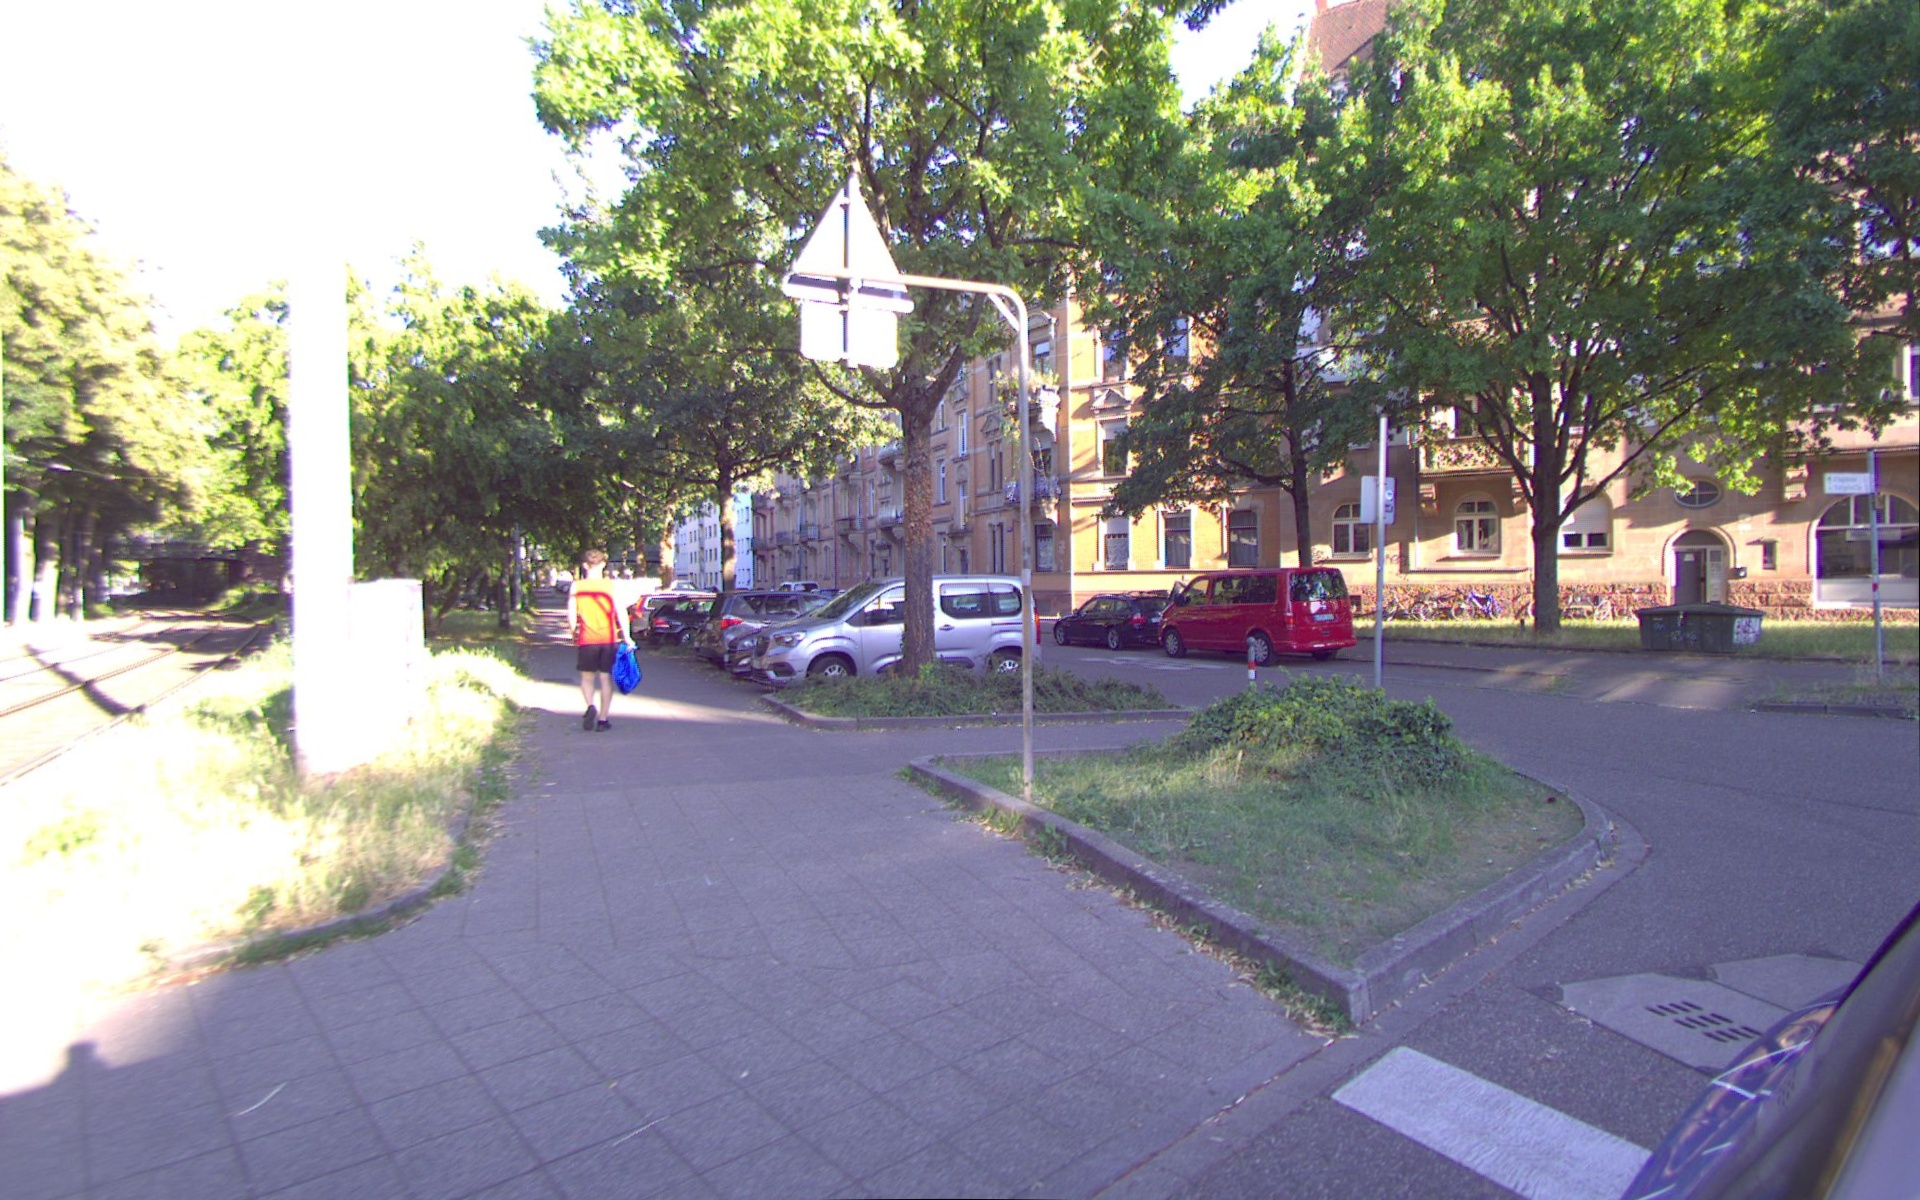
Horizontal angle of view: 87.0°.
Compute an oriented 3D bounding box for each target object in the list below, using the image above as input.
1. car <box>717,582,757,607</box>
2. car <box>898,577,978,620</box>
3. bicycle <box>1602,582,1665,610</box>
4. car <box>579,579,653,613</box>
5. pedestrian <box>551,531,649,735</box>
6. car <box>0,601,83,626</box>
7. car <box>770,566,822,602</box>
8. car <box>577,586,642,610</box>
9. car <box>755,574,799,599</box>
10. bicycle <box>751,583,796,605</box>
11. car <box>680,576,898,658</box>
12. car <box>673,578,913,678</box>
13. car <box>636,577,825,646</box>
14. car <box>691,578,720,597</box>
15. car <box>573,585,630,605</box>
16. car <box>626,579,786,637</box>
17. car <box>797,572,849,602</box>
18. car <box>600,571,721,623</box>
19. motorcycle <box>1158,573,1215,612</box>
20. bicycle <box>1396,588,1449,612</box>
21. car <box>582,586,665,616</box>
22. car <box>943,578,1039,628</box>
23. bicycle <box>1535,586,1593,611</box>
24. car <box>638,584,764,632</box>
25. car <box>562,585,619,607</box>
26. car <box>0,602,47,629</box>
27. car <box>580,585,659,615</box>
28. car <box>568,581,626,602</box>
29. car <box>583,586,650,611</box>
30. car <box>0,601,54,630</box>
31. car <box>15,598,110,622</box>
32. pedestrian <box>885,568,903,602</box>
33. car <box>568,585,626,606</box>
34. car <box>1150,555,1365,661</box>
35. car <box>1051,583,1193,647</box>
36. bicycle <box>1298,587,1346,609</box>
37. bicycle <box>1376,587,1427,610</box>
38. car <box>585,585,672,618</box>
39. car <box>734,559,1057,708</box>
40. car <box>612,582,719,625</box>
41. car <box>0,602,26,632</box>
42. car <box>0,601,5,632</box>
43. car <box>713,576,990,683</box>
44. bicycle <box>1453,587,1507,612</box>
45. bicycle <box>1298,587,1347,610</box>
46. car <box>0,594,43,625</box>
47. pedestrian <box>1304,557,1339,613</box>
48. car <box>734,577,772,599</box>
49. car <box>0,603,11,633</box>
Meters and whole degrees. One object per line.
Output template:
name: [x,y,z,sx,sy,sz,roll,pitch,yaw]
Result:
car: [-15.577,-0.413,70.546,1.843,1.555,4.401,-4,2,-23]
car: [-0.914,-0.068,39.782,1.655,1.493,3.888,-4,1,-24]
bicycle: [19.776,-0.112,29.740,1.498,0.741,0.365,-2,0,32]
car: [-19.915,-0.247,58.542,3.917,1.855,1.687,-1,1,-22]
pedestrian: [-3.688,0.300,10.324,0.886,1.942,1.152,0,0,-22]
car: [-51.356,0.730,56.073,3.922,1.295,1.749,-1,1,-2]
car: [-9.759,-0.944,60.010,1.874,1.906,4.734,-4,2,-23]
car: [-22.950,-0.174,66.279,3.917,1.507,1.687,-1,1,-22]
car: [-11.852,-0.898,65.372,1.843,1.459,4.401,-4,2,-23]
bicycle: [-13.134,-0.443,71.286,2.982,1.503,0.819,-1,1,-22]
car: [-3.808,0.305,22.431,4.458,1.591,1.954,-2,2,-20]
car: [-3.322,0.473,20.009,4.357,1.712,1.954,-2,2,-20]
car: [-6.082,0.247,26.754,4.617,1.591,2.005,-2,2,-20]
car: [-23.128,-1.111,91.860,1.843,1.588,4.401,-4,2,-23]
car: [-28.251,-0.403,79.752,4.177,1.507,1.687,-1,1,-22]
car: [-7.934,0.197,31.586,4.617,1.591,2.005,-2,2,-20]
car: [-7.470,-0.692,54.850,1.733,1.456,3.896,-4,2,-23]
car: [-12.782,-0.158,43.152,4.759,2.063,2.159,-1,1,-22]
motorcycle: [8.290,-0.275,37.051,1.884,1.370,0.801,-1,0,32]
bicycle: [14.787,0.003,32.358,1.498,0.741,0.365,0,1,32]
car: [-17.318,0.028,52.060,3.917,1.507,1.687,-1,1,-22]
car: [1.003,0.064,34.994,1.745,1.493,4.279,-4,2,-20]
bicycle: [18.356,-0.050,30.784,1.498,0.741,0.365,0,1,32]
car: [-8.704,0.238,34.021,3.917,1.479,1.687,-1,1,-22]
car: [-27.369,-0.301,74.937,3.917,1.507,1.687,-1,1,-22]
car: [-48.551,0.786,50.743,3.922,1.295,1.749,-1,1,-2]
car: [-18.255,-0.009,54.229,3.917,1.507,1.687,-1,1,-22]
car: [-33.511,-0.841,93.438,4.993,1.865,1.836,-1,1,-22]
car: [-21.628,-0.129,63.757,3.917,1.507,1.687,-1,1,-22]
car: [-45.983,0.740,48.266,3.922,1.295,1.749,-1,1,-2]
car: [-51.626,0.555,58.259,3.922,1.295,1.749,-1,1,-2]
pedestrian: [-3.492,-0.787,53.688,0.661,1.739,0.723,-4,2,-22]
car: [-27.776,-0.344,77.468,4.047,1.541,1.687,-1,1,-22]
car: [6.251,0.114,21.915,1.745,1.957,4.781,-4,2,-23]
car: [4.222,0.336,27.085,1.745,1.451,4.279,-4,2,-22]
bicycle: [12.358,-0.074,34.549,1.498,0.741,0.365,0,1,32]
bicycle: [14.416,-0.053,33.047,1.498,0.741,0.365,0,1,32]
car: [-16.140,0.063,49.250,3.917,1.507,1.687,-1,1,-22]
car: [-0.987,0.390,15.214,4.458,1.938,1.954,-2,2,-20]
car: [-11.843,0.108,40.707,3.917,1.600,1.769,-1,1,-25]
car: [-45.022,0.787,45.766,3.922,1.295,1.749,-1,1,-2]
car: [-41.850,0.724,41.360,3.922,1.295,1.749,-1,1,-2]
car: [-1.920,0.427,17.741,4.458,1.591,1.954,-2,2,-20]
bicycle: [16.339,-0.011,31.819,1.498,0.741,0.365,0,1,32]
bicycle: [12.231,-0.057,34.150,1.498,0.741,0.410,0,1,32]
car: [-57.361,0.562,60.074,3.916,1.789,1.752,-1,1,-15]
pedestrian: [11.556,-0.466,32.317,0.904,1.739,0.668,-2,0,30]
car: [-15.188,-0.907,74.050,1.843,1.459,4.401,-4,2,-23]
car: [-43.787,0.795,43.687,3.922,1.295,1.749,-1,1,-2]
